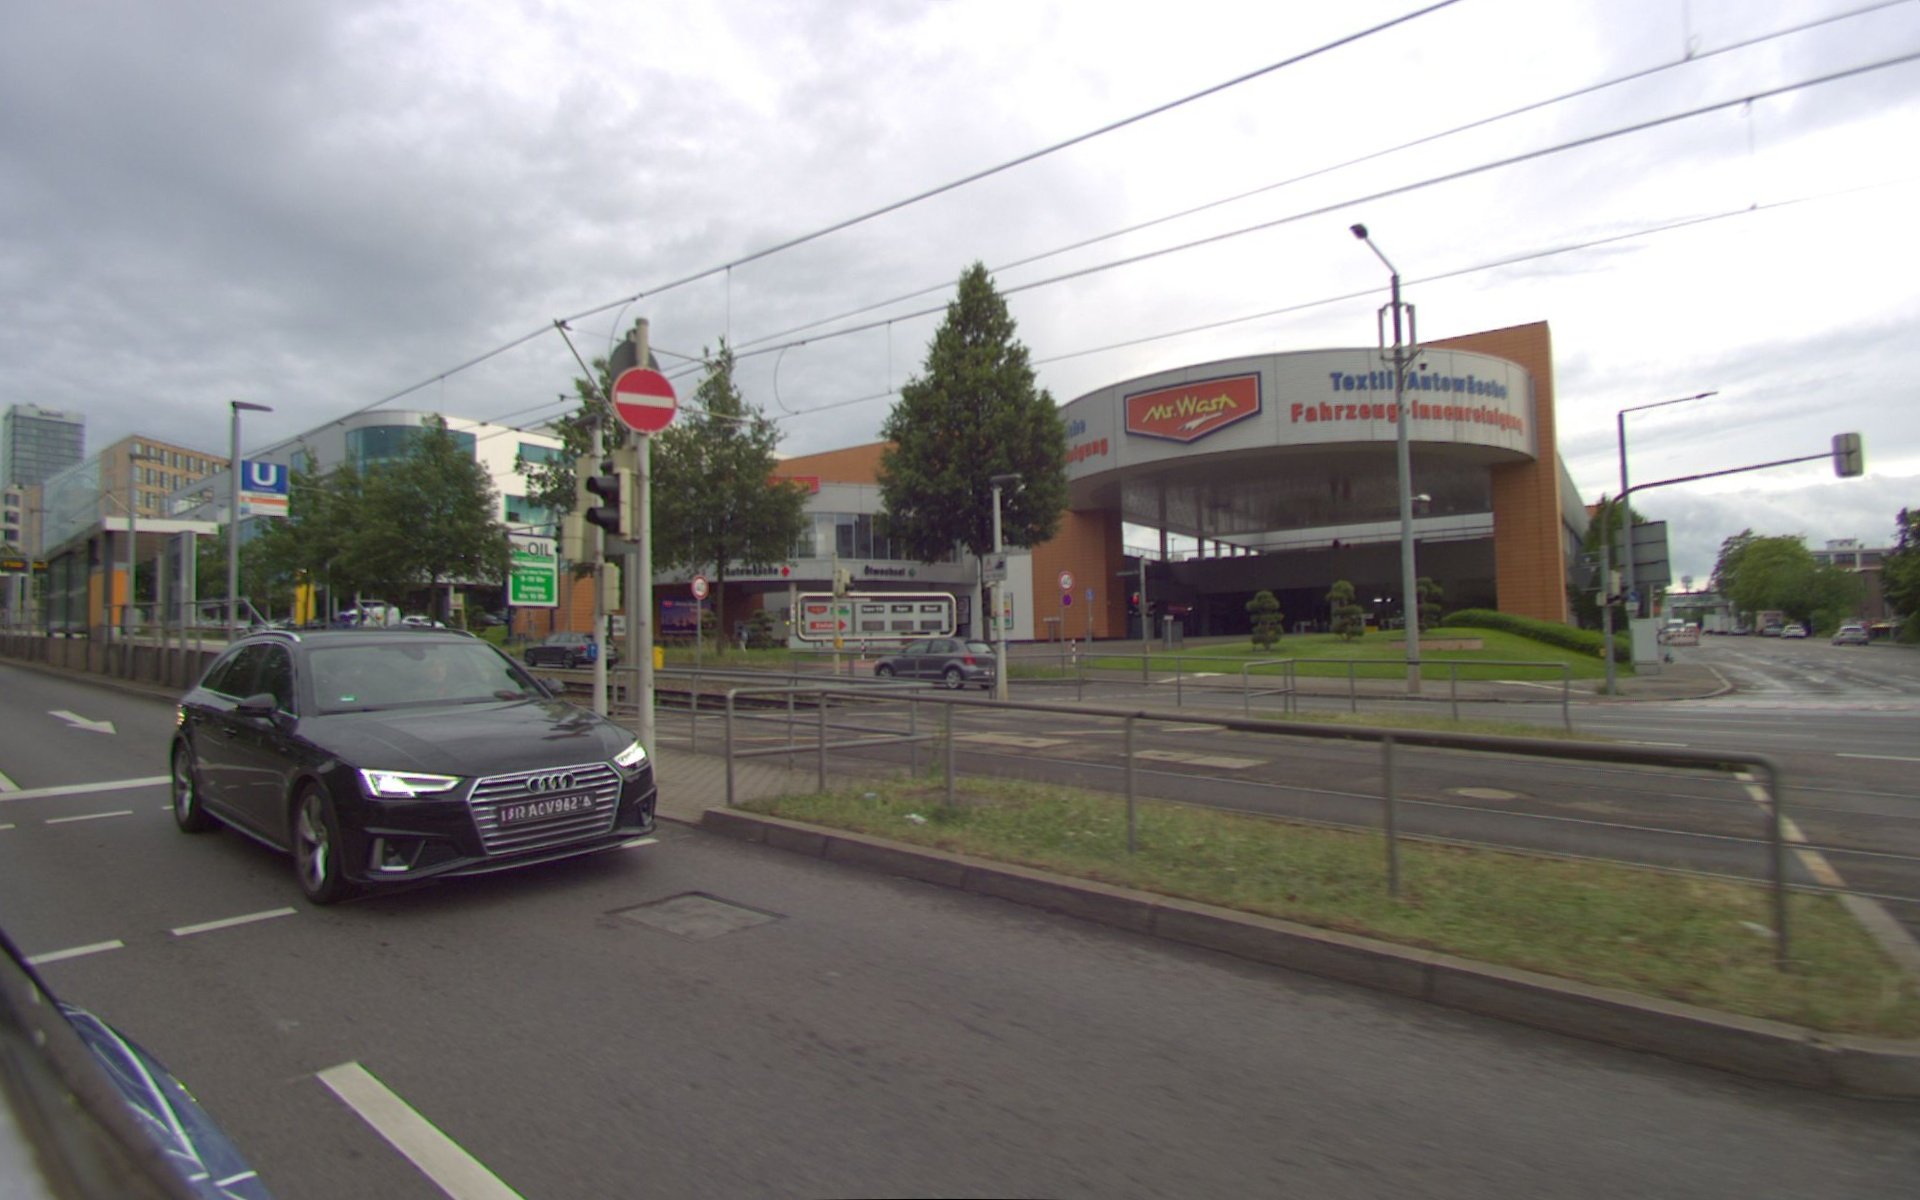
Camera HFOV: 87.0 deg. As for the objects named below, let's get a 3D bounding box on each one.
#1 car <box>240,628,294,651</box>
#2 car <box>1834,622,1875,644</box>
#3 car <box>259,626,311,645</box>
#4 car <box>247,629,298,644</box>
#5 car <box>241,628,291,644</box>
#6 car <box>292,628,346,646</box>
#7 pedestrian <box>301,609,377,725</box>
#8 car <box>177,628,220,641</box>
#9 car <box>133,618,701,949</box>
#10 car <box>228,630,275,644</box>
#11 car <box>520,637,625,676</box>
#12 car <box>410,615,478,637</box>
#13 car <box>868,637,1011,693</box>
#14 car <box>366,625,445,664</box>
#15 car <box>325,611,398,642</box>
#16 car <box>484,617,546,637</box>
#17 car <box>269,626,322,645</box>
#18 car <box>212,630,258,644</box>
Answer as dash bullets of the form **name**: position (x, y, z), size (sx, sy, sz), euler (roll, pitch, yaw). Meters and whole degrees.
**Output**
- **car**: position (-49.733, 2.829, 72.595), size (4.703, 1.529, 1.974), euler (-1, 0, 40)
- **car**: position (67.113, 2.465, 75.978), size (1.871, 1.608, 3.927), euler (-2, -2, 35)
- **car**: position (-68.129, 3.575, 102.148), size (1.917, 1.674, 3.954), euler (-2, 1, 34)
- **car**: position (-70.508, 3.719, 103.891), size (1.819, 1.502, 3.954), euler (-2, -2, 34)
- **car**: position (-72.815, 3.770, 106.208), size (1.819, 1.502, 3.954), euler (-2, -2, 34)
- **car**: position (-61.102, 3.536, 96.490), size (1.891, 1.519, 3.956), euler (-1, 0, 33)
- **pedestrian**: position (-9.112, 0.970, 14.865), size (0.643, 1.663, 0.700), euler (-1, -1, 13)
- **car**: position (-91.485, 4.096, 121.621), size (1.812, 1.502, 3.813), euler (-1, -1, 23)
- **car**: position (-3.886, 0.887, 6.755), size (4.826, 1.445, 1.771), euler (-2, -2, 41)
- **car**: position (-76.930, 4.022, 109.917), size (1.812, 1.502, 3.813), euler (-1, -1, 23)
- **car**: position (-14.992, 2.148, 39.092), size (4.384, 1.438, 1.835), euler (-2, -4, 39)
- **car**: position (-49.332, 2.506, 96.833), size (2.274, 1.941, 5.420), euler (-1, 0, 35)
- **car**: position (-0.617, 1.733, 27.823), size (3.777, 1.434, 1.710), euler (-2, -2, 41)
- **car**: position (-26.655, 2.092, 48.610), size (4.387, 1.788, 1.972), euler (-2, -2, 42)
- **car**: position (-54.102, 2.363, 91.607), size (2.265, 2.649, 5.441), euler (-1, 0, 23)
- **car**: position (-45.582, 2.745, 103.793), size (2.274, 1.941, 5.420), euler (-1, 0, 35)
- **car**: position (-65.998, 3.538, 100.537), size (1.917, 1.674, 3.954), euler (-2, 0, 34)
- **car**: position (-80.928, 4.088, 113.014), size (1.812, 1.502, 3.813), euler (-1, -1, 23)
